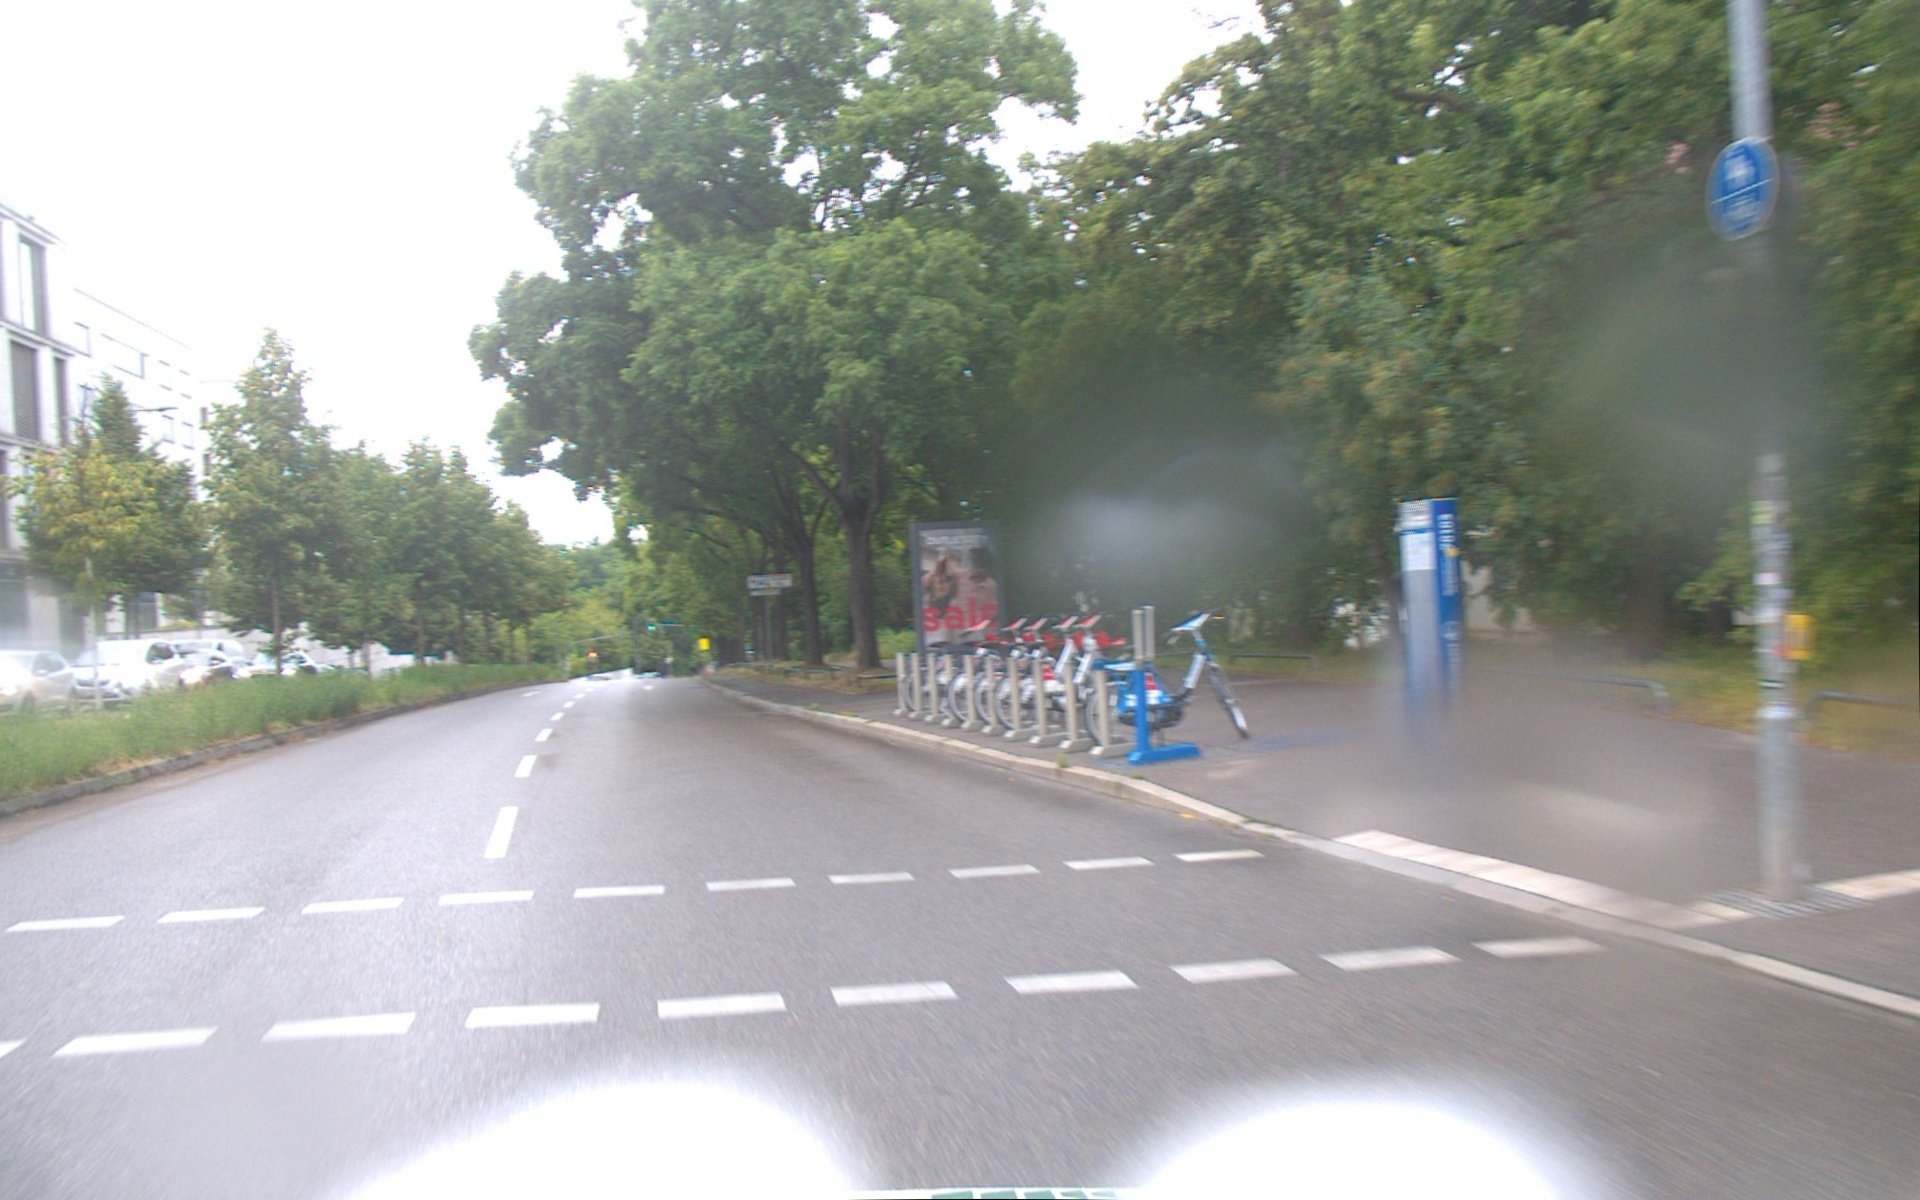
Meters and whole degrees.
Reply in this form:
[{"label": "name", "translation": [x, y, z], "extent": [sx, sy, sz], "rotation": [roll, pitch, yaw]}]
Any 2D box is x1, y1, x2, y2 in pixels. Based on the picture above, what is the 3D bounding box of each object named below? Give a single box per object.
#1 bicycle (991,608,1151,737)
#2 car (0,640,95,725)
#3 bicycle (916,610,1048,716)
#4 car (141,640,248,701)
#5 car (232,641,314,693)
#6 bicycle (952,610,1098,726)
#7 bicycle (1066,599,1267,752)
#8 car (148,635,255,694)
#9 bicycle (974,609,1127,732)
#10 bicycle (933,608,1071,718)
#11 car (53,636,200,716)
[{"label": "bicycle", "translation": [1.145, 0.741, 17.080], "extent": [1.462, 1.150, 0.554], "rotation": [-6, -1, -17]}, {"label": "car", "translation": [-19.259, 1.677, 33.601], "extent": [1.712, 1.493, 4.051], "rotation": [-4, 1, -9]}, {"label": "bicycle", "translation": [0.273, 0.779, 20.675], "extent": [1.462, 1.150, 0.554], "rotation": [-6, -1, -17]}, {"label": "car", "translation": [-21.319, 1.928, 46.209], "extent": [1.611, 1.435, 3.987], "rotation": [-4, 1, -9]}, {"label": "car", "translation": [-23.212, 2.226, 55.995], "extent": [1.664, 1.609, 4.007], "rotation": [-2, -1, -10]}, {"label": "bicycle", "translation": [0.733, 0.766, 18.766], "extent": [1.462, 1.150, 0.554], "rotation": [-6, -1, -17]}, {"label": "bicycle", "translation": [1.805, 0.648, 14.501], "extent": [1.571, 1.150, 0.554], "rotation": [-6, -1, -17]}, {"label": "car", "translation": [-26.015, 2.235, 56.923], "extent": [2.084, 1.848, 5.245], "rotation": [-2, -2, -11]}, {"label": "bicycle", "translation": [0.972, 0.751, 17.872], "extent": [1.462, 1.150, 0.554], "rotation": [-6, -1, -17]}, {"label": "bicycle", "translation": [0.504, 0.750, 19.860], "extent": [1.462, 1.150, 0.554], "rotation": [-6, -1, -17]}, {"label": "car", "translation": [-20.231, 1.795, 40.372], "extent": [1.796, 1.628, 4.664], "rotation": [-4, 1, -9]}]
